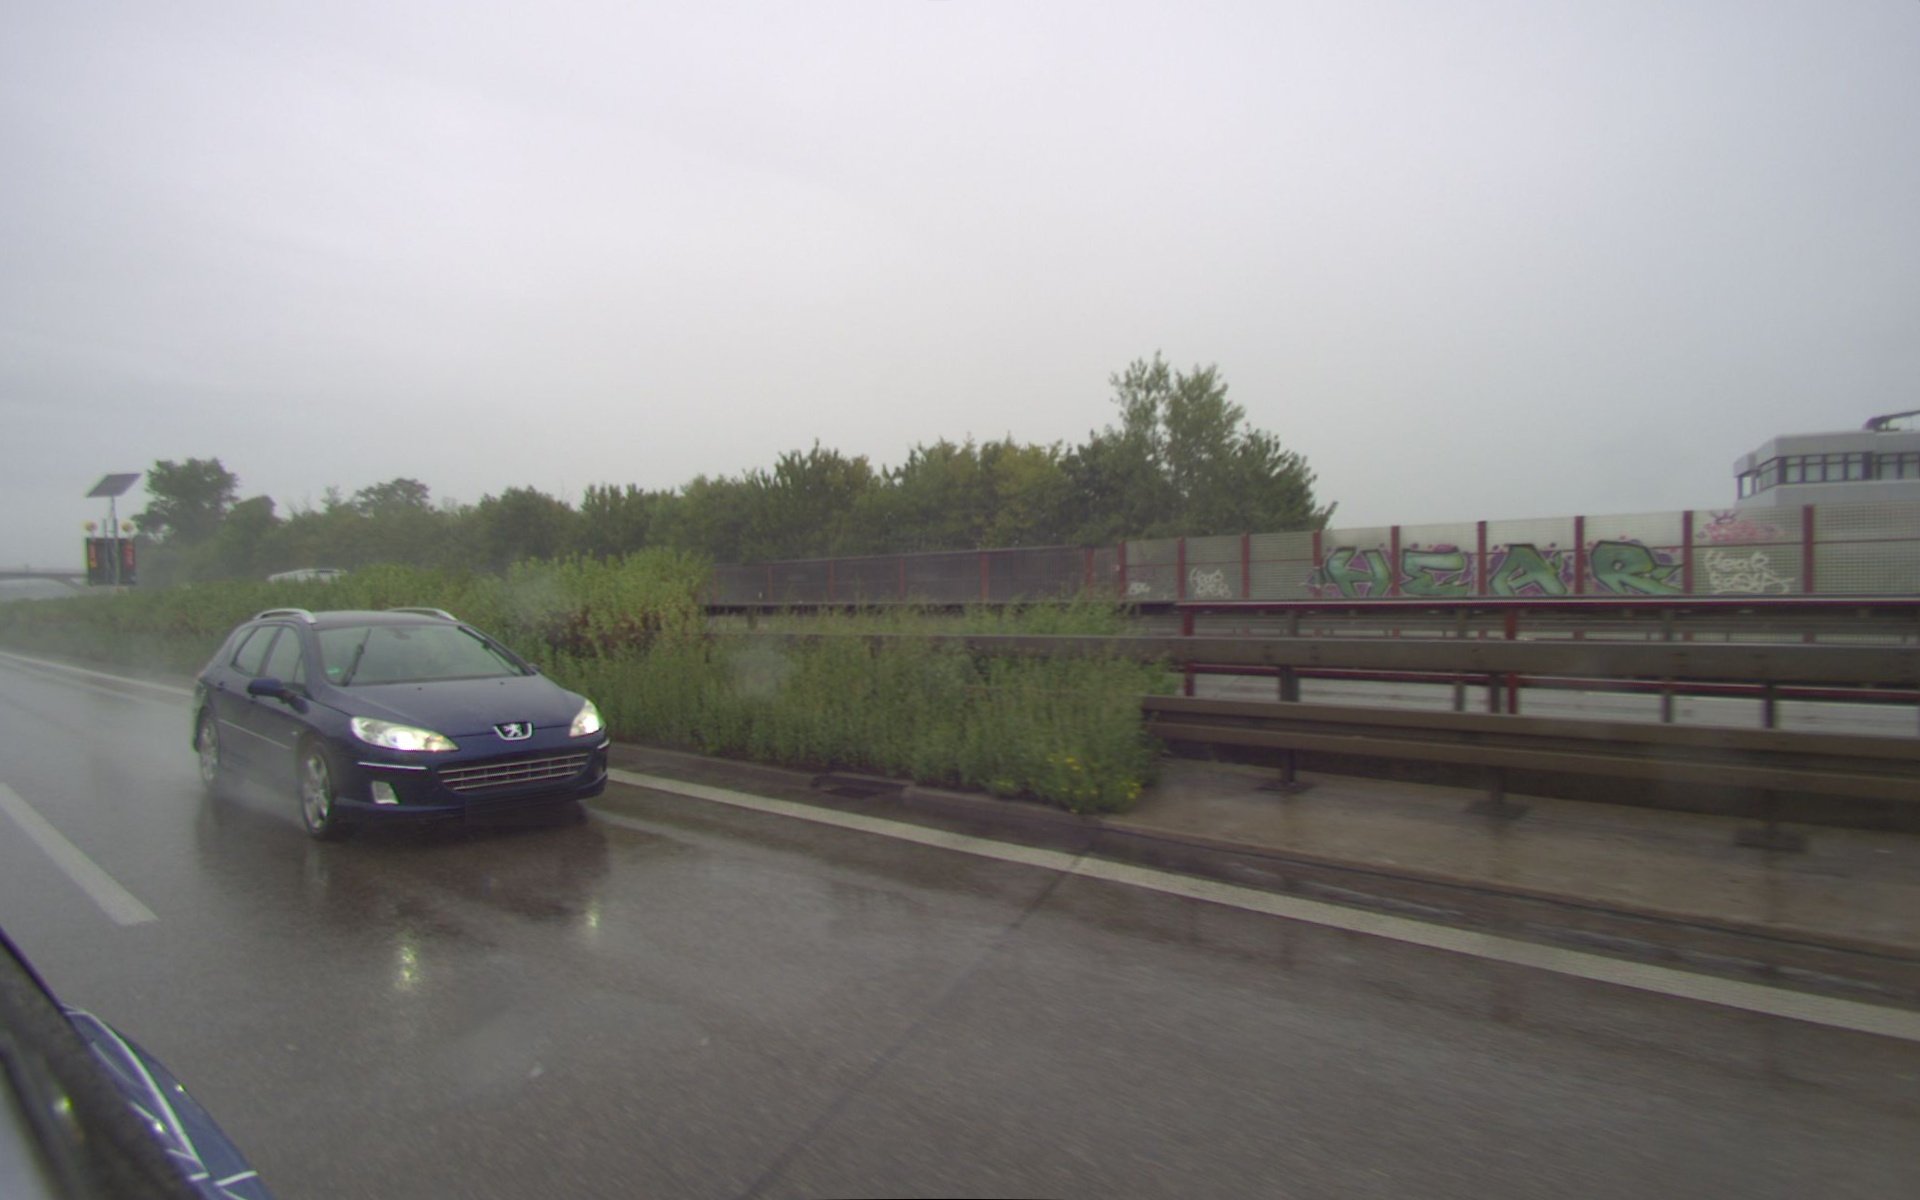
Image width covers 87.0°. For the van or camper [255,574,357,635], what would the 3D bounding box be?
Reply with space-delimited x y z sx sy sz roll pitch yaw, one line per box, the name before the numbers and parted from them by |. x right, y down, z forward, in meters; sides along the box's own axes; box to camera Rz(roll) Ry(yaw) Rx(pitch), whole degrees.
van or camper | -24.896 0.202 38.455 4.944 2.172 1.973 -1 -1 41

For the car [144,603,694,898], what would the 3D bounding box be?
car | -4.368 0.818 7.687 5.156 1.496 2.033 -1 -1 42
